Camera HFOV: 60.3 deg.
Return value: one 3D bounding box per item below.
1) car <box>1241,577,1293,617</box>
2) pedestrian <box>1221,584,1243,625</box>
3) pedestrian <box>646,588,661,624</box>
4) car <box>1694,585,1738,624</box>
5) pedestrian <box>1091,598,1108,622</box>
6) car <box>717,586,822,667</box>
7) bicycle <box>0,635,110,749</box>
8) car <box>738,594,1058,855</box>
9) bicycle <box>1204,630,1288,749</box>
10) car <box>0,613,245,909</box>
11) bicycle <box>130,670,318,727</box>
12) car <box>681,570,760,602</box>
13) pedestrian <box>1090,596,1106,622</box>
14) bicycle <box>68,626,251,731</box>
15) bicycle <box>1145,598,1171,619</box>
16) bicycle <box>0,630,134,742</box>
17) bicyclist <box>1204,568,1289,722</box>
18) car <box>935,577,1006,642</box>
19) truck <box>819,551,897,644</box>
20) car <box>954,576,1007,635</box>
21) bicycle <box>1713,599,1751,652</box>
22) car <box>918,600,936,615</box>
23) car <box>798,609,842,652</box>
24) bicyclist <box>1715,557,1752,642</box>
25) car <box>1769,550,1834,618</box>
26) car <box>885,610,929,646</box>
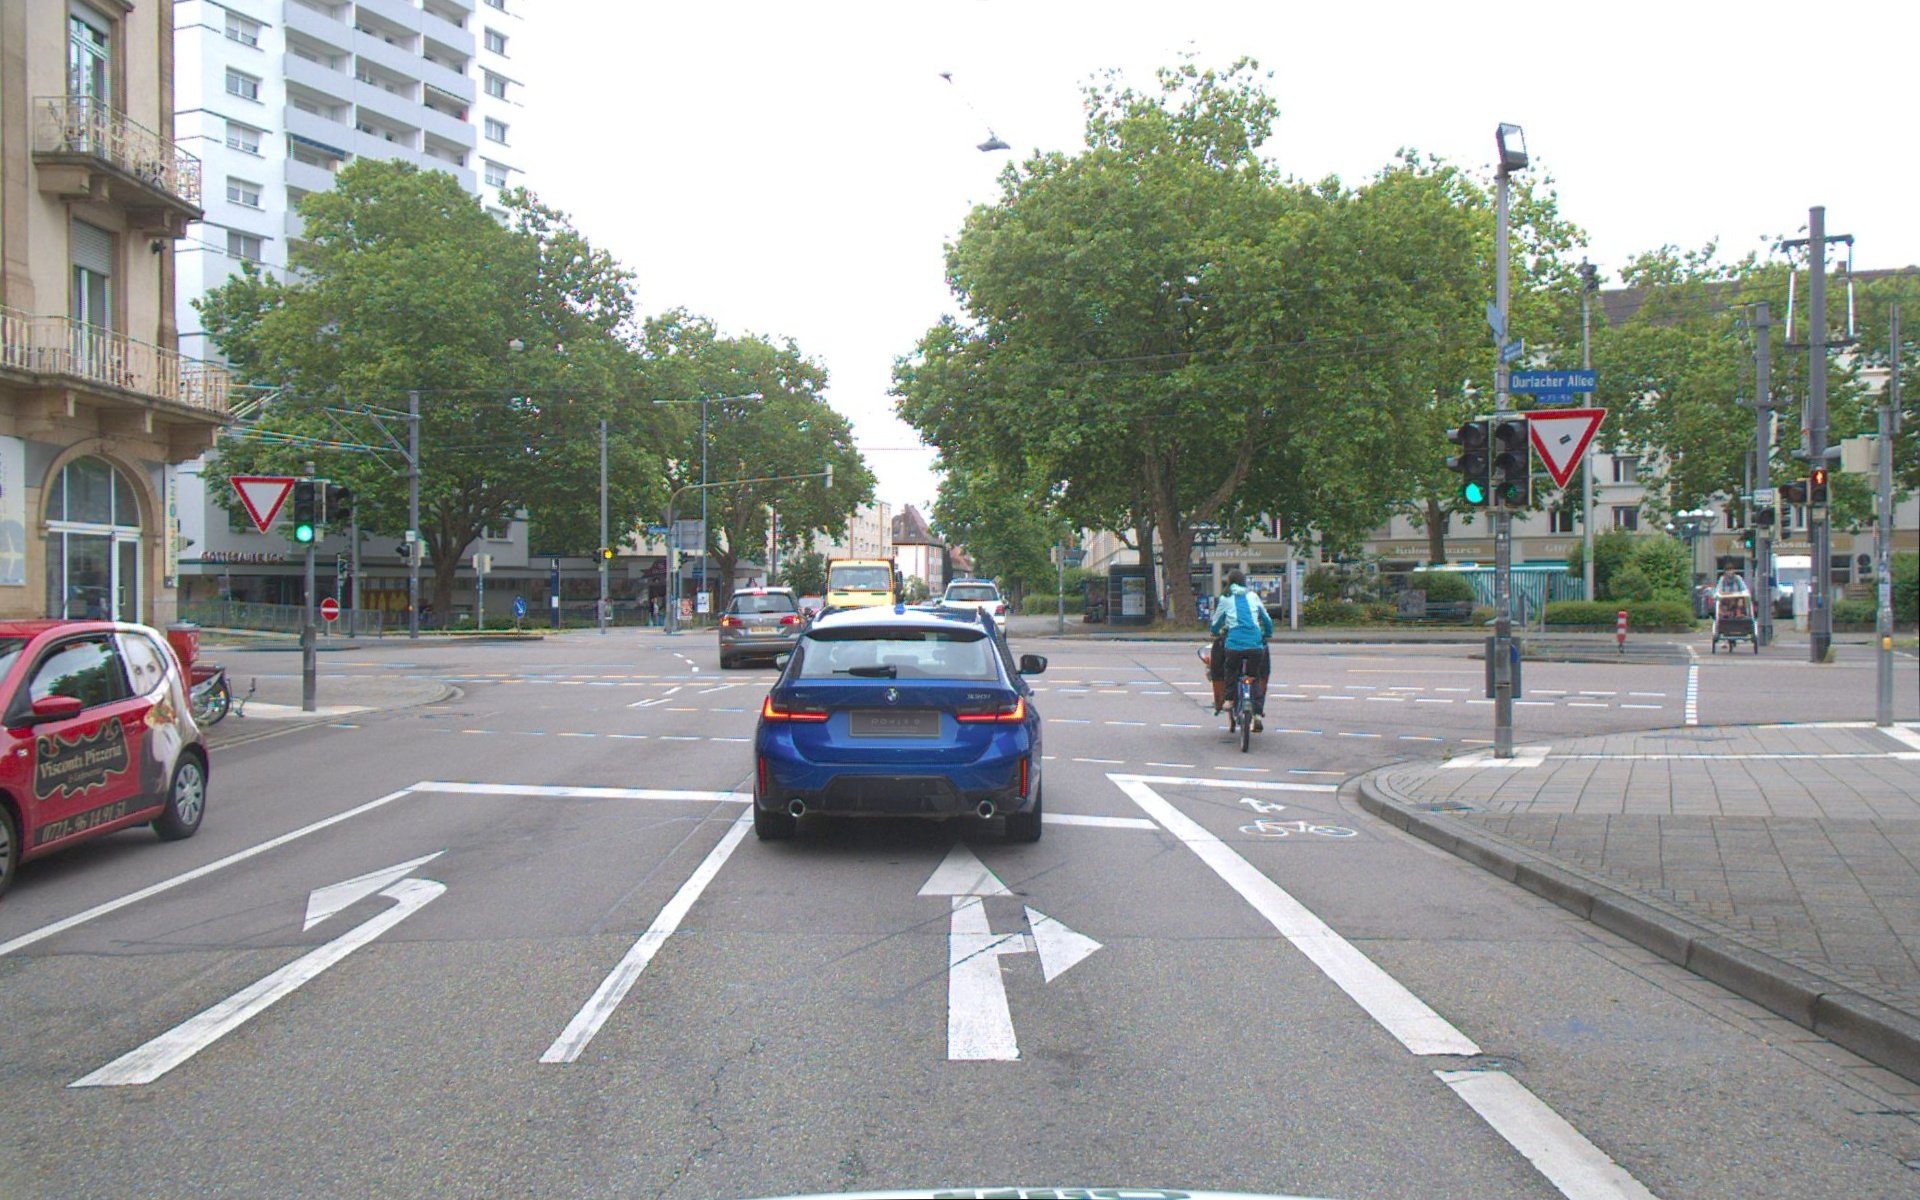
[{"bbox_3d":[17.656,-0.177,95.000,2.130,2.239,3.998,-1,0,24],"label":"car"},{"bbox_3d":[12.109,0.205,73.633,0.768,1.774,0.925,-1,0,-2],"label":"pedestrian"},{"bbox_3d":[-15.274,0.295,82.383,0.562,1.816,0.620,-1,0,8],"label":"pedestrian"},{"bbox_3d":[31.501,0.169,68.875,1.632,1.542,3.935,-1,0,25],"label":"car"},{"bbox_3d":[7.629,0.542,90.249,0.835,1.337,0.762,-1,0,-1],"label":"pedestrian"},{"bbox_3d":[-3.848,0.505,33.971,1.697,1.551,4.000,-1,0,-1],"label":"car"},{"bbox_3d":[-9.897,0.914,17.139,1.849,1.053,0.442,5,0,-3],"label":"bicycle"},{"bbox_3d":[-0.309,0.691,11.442,1.778,1.430,4.320,-1,0,1],"label":"car"},{"bbox_3d":[2.989,0.904,17.457,0.484,1.117,2.138,-1,0,-1],"label":"bicycle"},{"bbox_3d":[-5.741,0.849,9.652,1.615,1.472,3.511,-1,0,-1],"label":"car"},{"bbox_3d":[-9.120,1.215,20.567,1.849,0.453,1.028,5,2,-3],"label":"bicycle"},{"bbox_3d":[-13.400,-0.784,92.489,3.947,1.736,1.979,0,-1,-32],"label":"car"},{"bbox_3d":[7.609,0.490,91.196,0.801,1.396,0.762,-1,0,-1],"label":"pedestrian"},{"bbox_3d":[-9.435,0.919,19.524,1.849,1.053,0.442,5,0,-3],"label":"bicycle"},{"bbox_3d":[10.991,0.464,91.575,0.762,1.188,2.331,-1,0,24],"label":"bicycle"},{"bbox_3d":[-9.916,0.895,17.675,1.849,1.053,0.442,5,0,-3],"label":"bicycle"},{"bbox_3d":[2.974,0.450,17.238,0.672,1.544,1.058,-1,0,-1],"label":"bicyclist"},{"bbox_3d":[0.242,0.237,43.861,1.778,1.620,4.000,-1,0,-1],"label":"car"},{"bbox_3d":[-2.860,-0.094,47.380,2.033,2.450,5.460,-1,0,-2],"label":"truck"},{"bbox_3d":[0.708,0.180,59.038,1.778,2.040,4.000,-1,0,-1],"label":"car"},{"bbox_3d":[15.511,0.501,33.255,0.540,1.013,2.061,-1,0,22],"label":"bicycle"},{"bbox_3d":[-3.492,0.787,176.115,1.815,1.478,4.167,0,0,0],"label":"car"},{"bbox_3d":[-6.947,1.495,82.470,1.881,2.049,3.936,-1,0,0],"label":"car"},{"bbox_3d":[15.596,-0.013,33.361,0.601,1.683,0.754,-1,0,21],"label":"bicyclist"},{"bbox_3d":[34.921,-0.662,68.746,2.191,2.685,5.443,-1,0,25],"label":"car"},{"bbox_3d":[-2.303,1.212,73.107,1.771,1.452,4.317,-1,0,0],"label":"car"}]
